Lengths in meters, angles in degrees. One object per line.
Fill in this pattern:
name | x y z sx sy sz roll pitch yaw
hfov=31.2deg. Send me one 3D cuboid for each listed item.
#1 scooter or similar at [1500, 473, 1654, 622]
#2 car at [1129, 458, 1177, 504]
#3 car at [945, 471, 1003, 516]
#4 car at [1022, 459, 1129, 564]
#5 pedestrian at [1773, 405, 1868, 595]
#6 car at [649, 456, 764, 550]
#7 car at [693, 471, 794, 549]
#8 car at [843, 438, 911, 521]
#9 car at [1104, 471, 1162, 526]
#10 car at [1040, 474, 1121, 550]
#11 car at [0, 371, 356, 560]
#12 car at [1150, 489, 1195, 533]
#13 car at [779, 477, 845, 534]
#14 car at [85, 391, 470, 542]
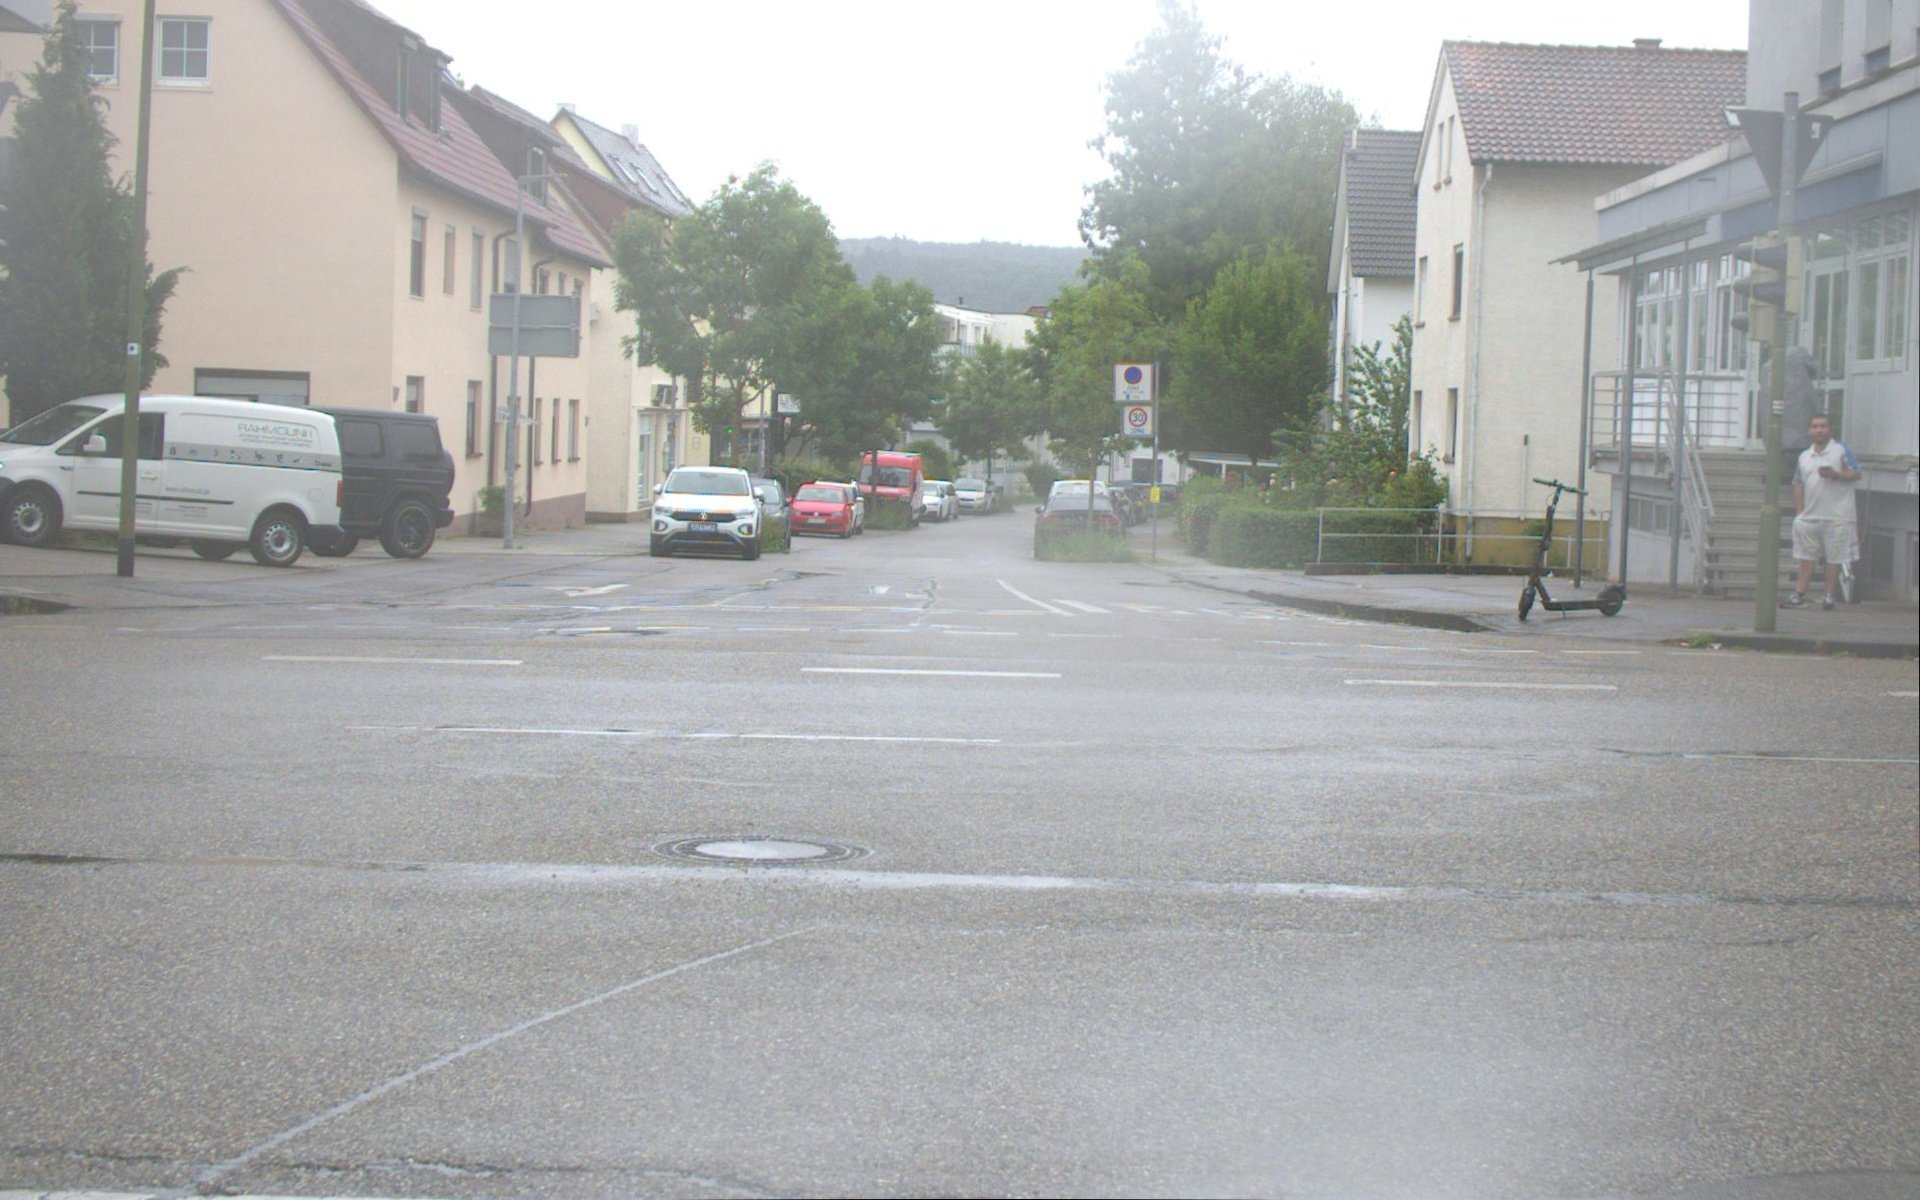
scooter or similar | 5.249 -0.437 29.289 1.058 1.223 0.802 1 -1 -9
car | 8.588 -5.280 152.824 1.994 2.007 4.000 1 1 5
car | 0.609 -4.465 144.693 1.994 1.700 3.999 1 -1 6
car | 2.449 -1.820 72.040 1.994 2.007 3.999 1 -1 5
pedestrian | 7.613 -0.878 30.446 0.654 1.646 0.646 1 -1 0
car | -4.287 -1.649 58.635 1.767 1.518 4.001 1 1 -2
car | -4.394 -1.831 70.246 1.767 1.513 4.194 1 1 0
car | -2.815 -4.103 118.061 2.216 2.759 5.725 1 1 0
car | 6.475 -3.791 128.511 1.994 2.007 4.000 1 1 5
car | 3.324 -2.414 94.367 1.994 2.007 4.000 1 1 5
car | -9.329 -1.483 38.418 4.715 1.772 1.772 4 -1 -39
car | 9.991 -4.191 161.516 1.994 2.007 4.000 1 1 5
car | -4.108 -2.611 95.141 1.767 1.513 4.001 1 1 -3
car | -9.014 -1.732 45.576 4.608 1.882 1.963 0 2 -39
